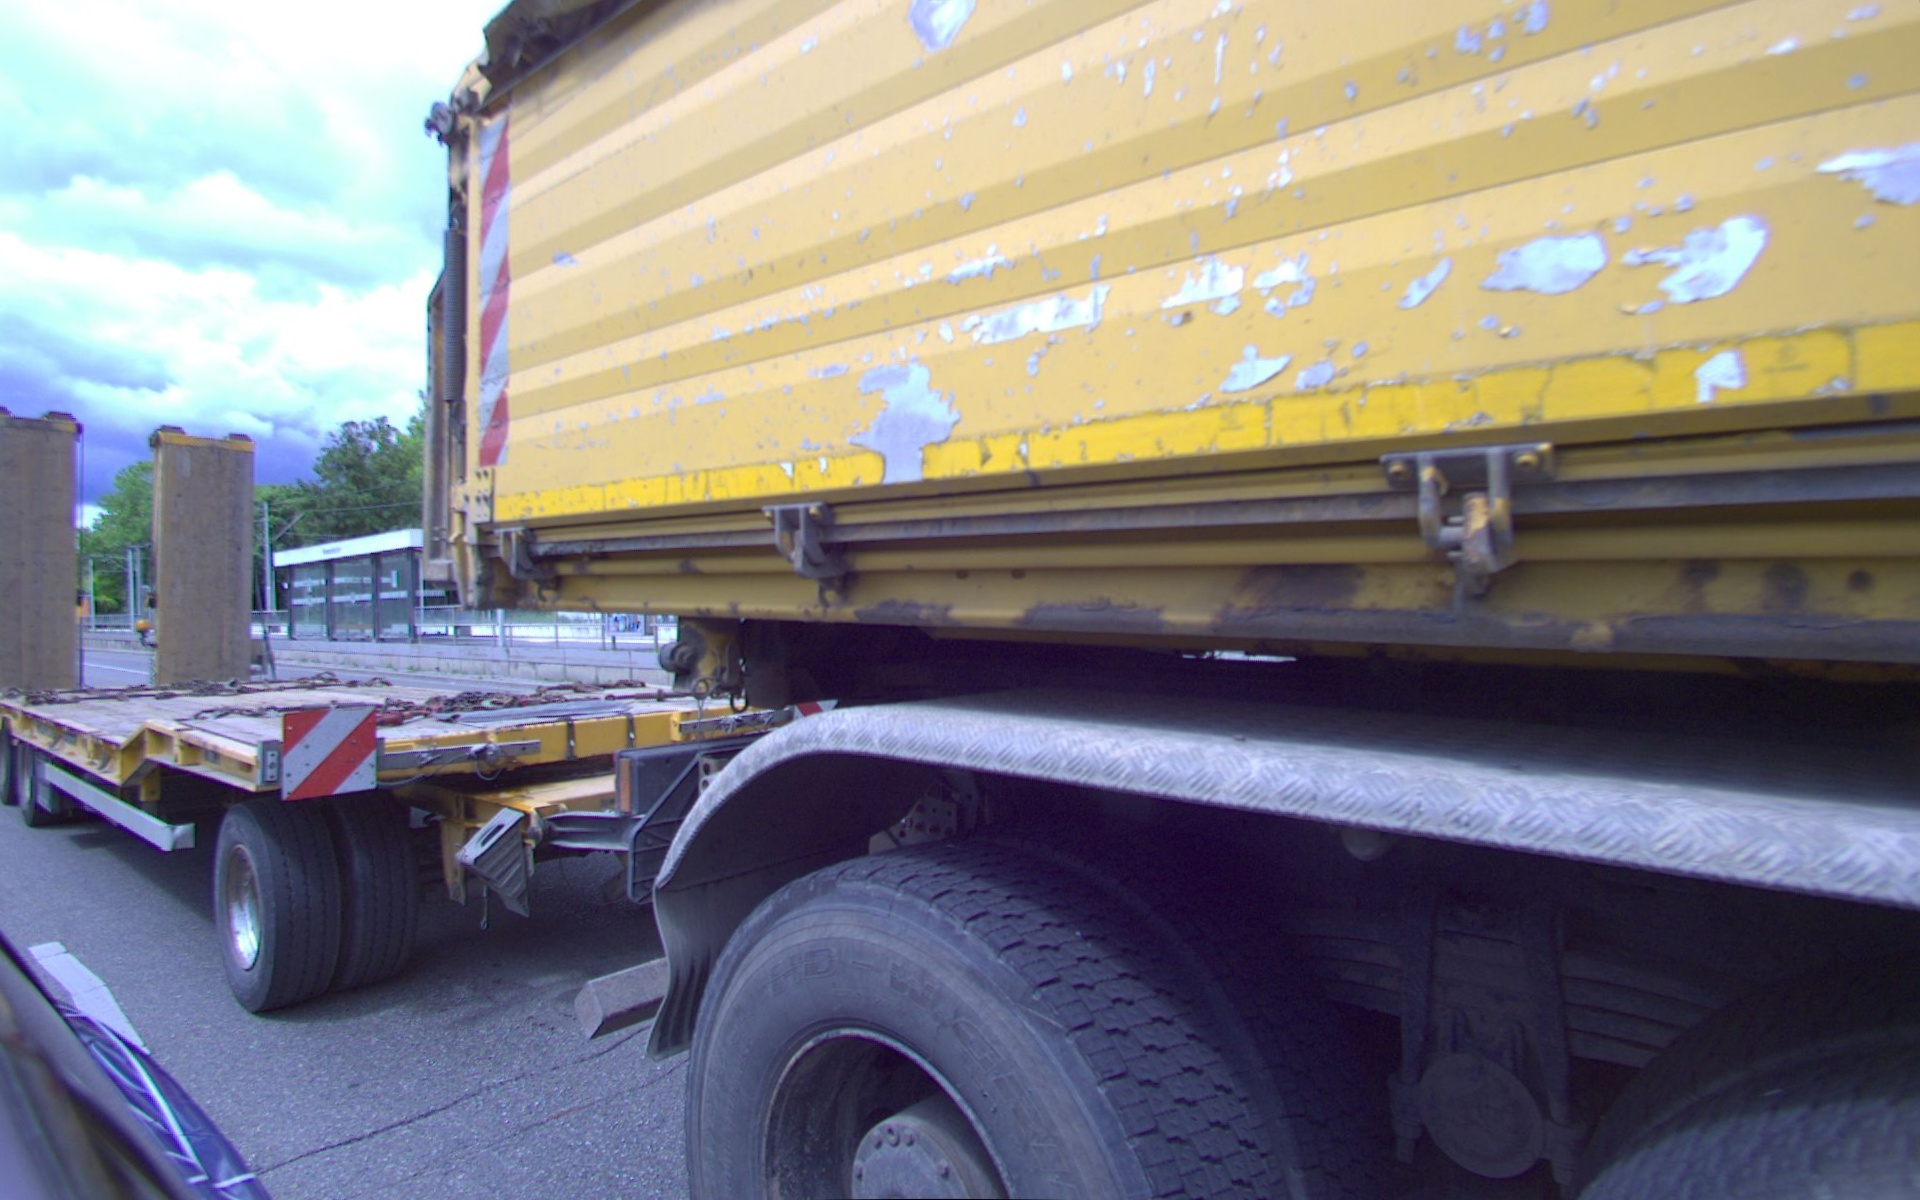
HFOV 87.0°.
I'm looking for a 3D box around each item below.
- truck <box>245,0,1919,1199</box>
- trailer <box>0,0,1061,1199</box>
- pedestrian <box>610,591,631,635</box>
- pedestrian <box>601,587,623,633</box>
[{"bbox_3d":[2.336,-0.371,0.972,8.000,3.420,3.019,-1,-1,40],"label":"truck"},{"bbox_3d":[-4.698,-0.360,7.052,10.957,3.726,3.018,-1,-1,40],"label":"trailer"},{"bbox_3d":[-13.025,0.503,38.812,0.591,1.663,0.615,0,-1,-40],"label":"pedestrian"},{"bbox_3d":[-13.573,0.374,39.477,0.651,1.767,0.506,0,-1,-37],"label":"pedestrian"}]
